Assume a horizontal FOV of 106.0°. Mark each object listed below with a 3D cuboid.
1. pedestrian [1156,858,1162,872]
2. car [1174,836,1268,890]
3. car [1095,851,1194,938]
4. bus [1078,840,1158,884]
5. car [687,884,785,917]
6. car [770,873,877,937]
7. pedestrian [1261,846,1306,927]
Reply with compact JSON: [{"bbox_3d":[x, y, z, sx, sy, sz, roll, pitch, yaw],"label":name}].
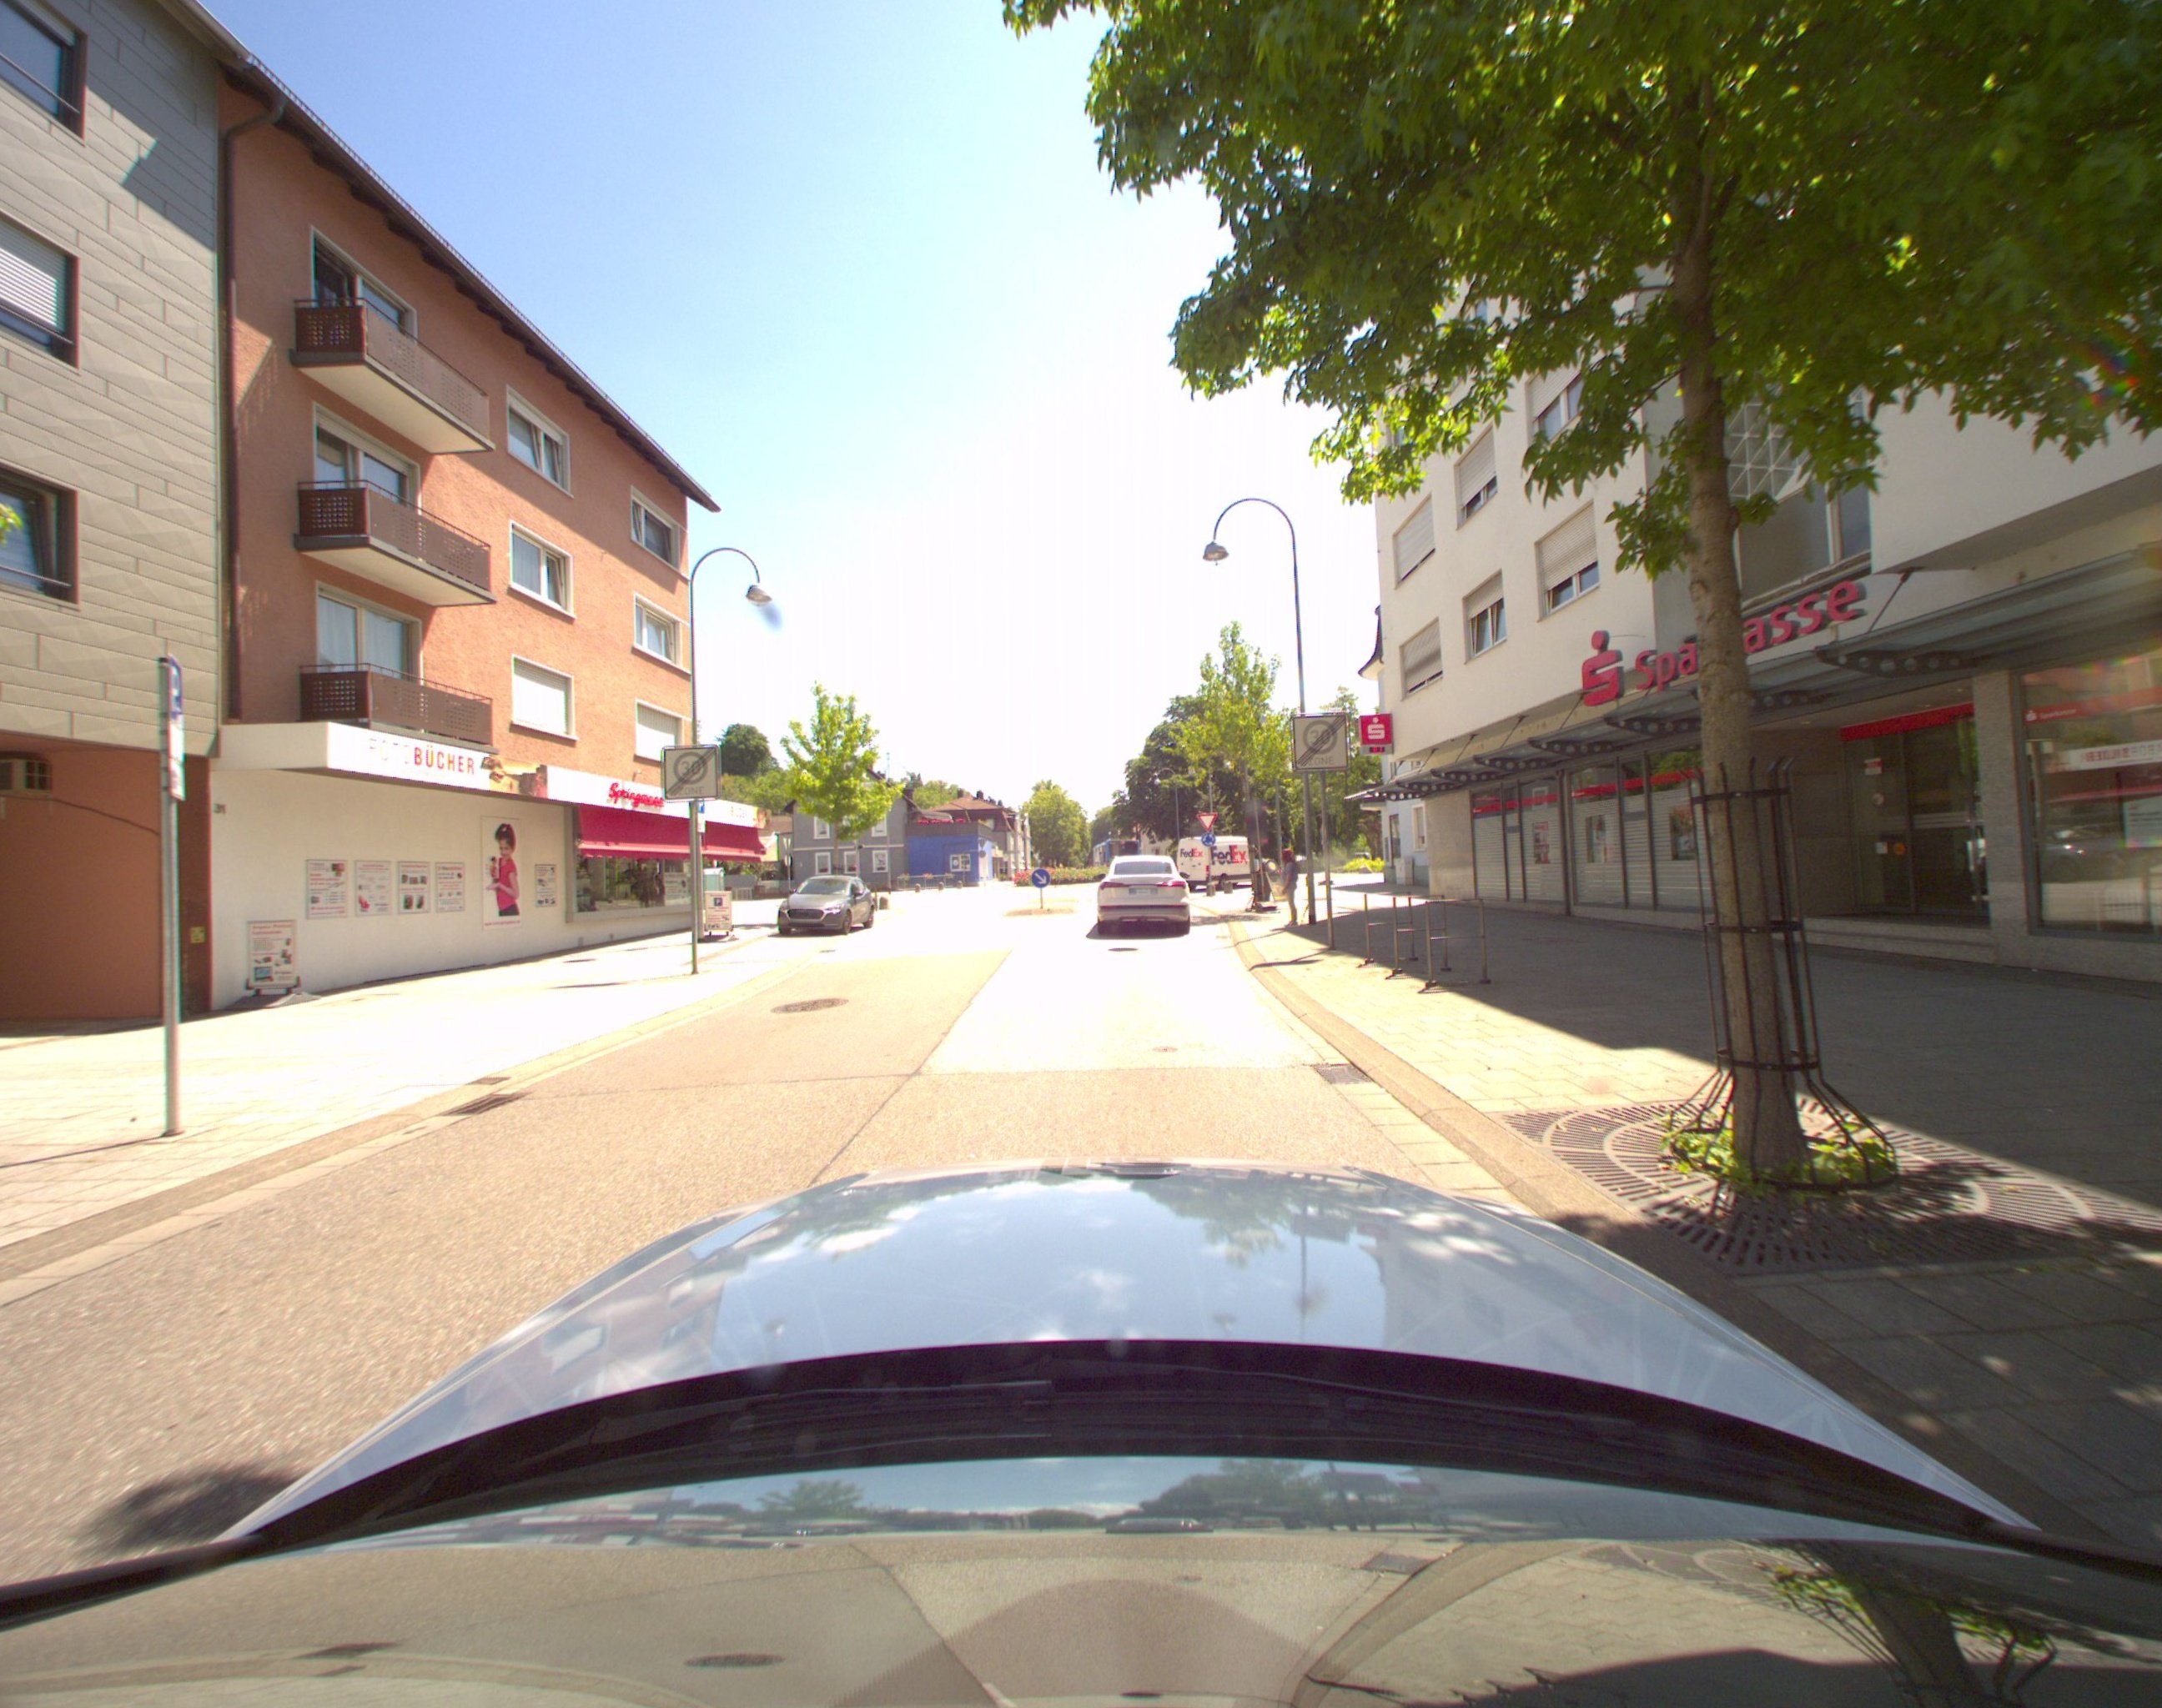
[{"bbox_3d":[8.987,1.282,93.752,0.501,1.650,0.579,-2,-1,-4],"label":"pedestrian"},{"bbox_3d":[7.046,0.393,40.419,1.975,2.480,5.518,0,1,41],"label":"car"},{"bbox_3d":[1.327,0.809,18.034,1.891,1.662,4.411,-1,-1,2],"label":"car"},{"bbox_3d":[2.650,0.786,68.044,3.703,3.171,18.022,0,-1,-7],"label":"bus"},{"bbox_3d":[-18.137,2.421,42.975,4.427,1.457,1.761,-3,-1,-12],"label":"car"},{"bbox_3d":[-6.707,1.280,21.656,1.662,1.486,4.057,0,-1,-2],"label":"car"},{"bbox_3d":[4.182,0.672,16.860,0.729,1.610,0.560,-3,-1,3],"label":"pedestrian"}]
